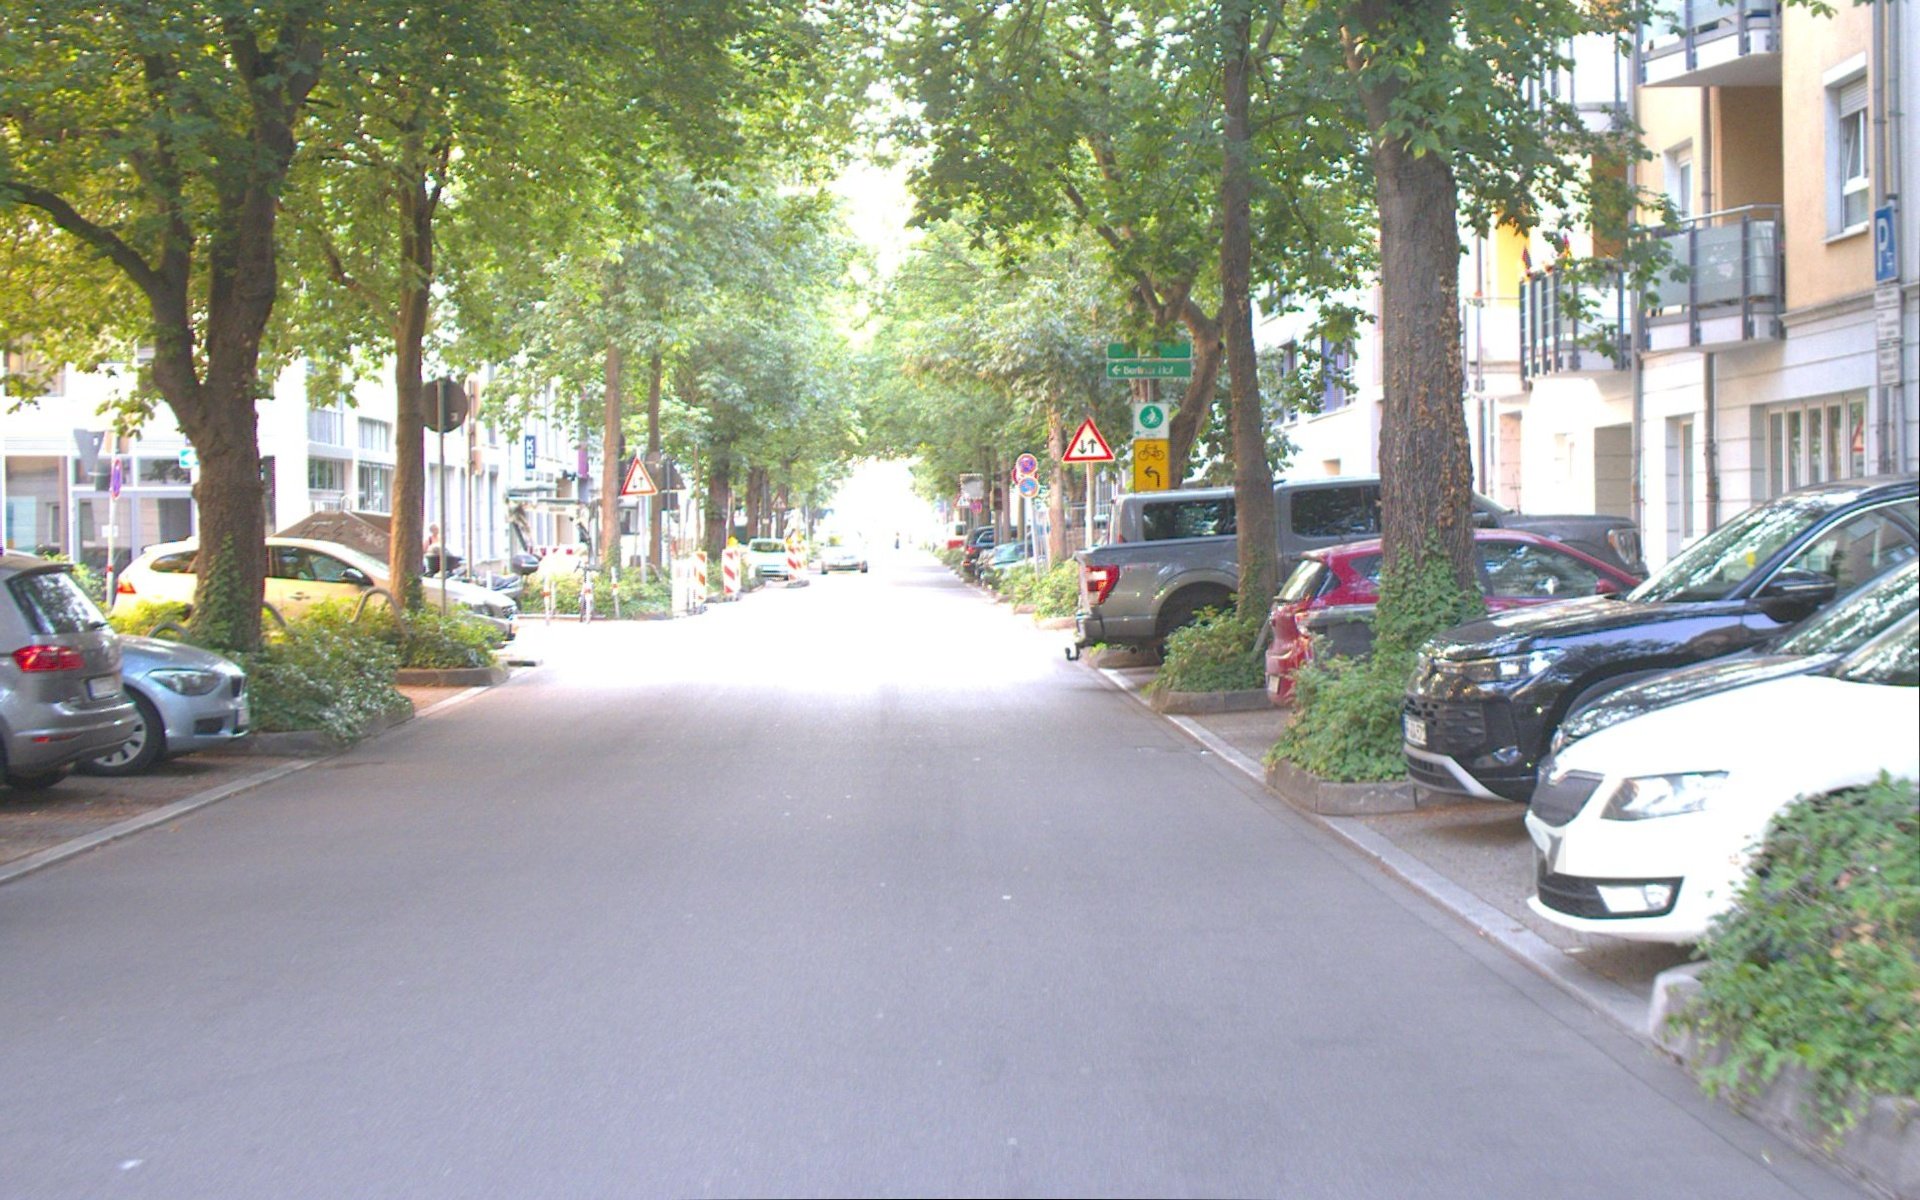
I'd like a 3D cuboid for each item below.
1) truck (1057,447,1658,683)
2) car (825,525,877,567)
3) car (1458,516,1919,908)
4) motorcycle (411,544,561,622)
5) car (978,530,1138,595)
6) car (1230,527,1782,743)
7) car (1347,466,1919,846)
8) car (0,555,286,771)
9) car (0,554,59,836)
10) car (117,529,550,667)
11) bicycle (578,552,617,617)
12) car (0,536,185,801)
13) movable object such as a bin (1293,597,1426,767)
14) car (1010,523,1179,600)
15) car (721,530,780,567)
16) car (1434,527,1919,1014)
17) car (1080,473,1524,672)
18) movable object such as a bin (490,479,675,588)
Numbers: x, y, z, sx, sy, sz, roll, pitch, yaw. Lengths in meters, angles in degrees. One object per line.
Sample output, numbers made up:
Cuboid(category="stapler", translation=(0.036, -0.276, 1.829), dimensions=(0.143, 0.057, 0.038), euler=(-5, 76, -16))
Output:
Cuboid(category="truck", translation=(3.980, -0.370, 35.265), dimensions=(5.887, 2.303, 2.212), euler=(0, 1, 0))
Cuboid(category="car", translation=(-4.293, -2.123, 135.025), dimensions=(2.009, 1.607, 4.120), euler=(0, 1, -2))
Cuboid(category="car", translation=(4.419, 0.353, 14.752), dimensions=(4.224, 1.433, 1.929), euler=(-4, 1, 1))
Cuboid(category="motorcycle", translation=(-8.220, -0.305, 59.666), dimensions=(2.350, 1.277, 1.067), euler=(-2, 2, -41))
Cuboid(category="car", translation=(2.454, -0.957, 86.667), dimensions=(3.987, 1.579, 2.000), euler=(-1, 1, 1))
Cuboid(category="car", translation=(4.005, 0.228, 25.654), dimensions=(3.776, 1.539, 1.878), euler=(0, 1, -2))
Cuboid(category="car", translation=(4.476, 0.165, 17.234), dimensions=(4.641, 1.612, 2.010), euler=(-4, 1, -5))
Cuboid(category="car", translation=(-7.048, 0.424, 24.091), dimensions=(4.287, 1.425, 1.879), euler=(0, 1, -1))
Cuboid(category="car", translation=(-7.139, 0.515, 18.796), dimensions=(3.986, 1.485, 1.826), euler=(0, 1, -3))
Cuboid(category="car", translation=(-7.214, -0.043, 39.916), dimensions=(4.619, 1.547, 2.075), euler=(0, 1, 2))
Cuboid(category="bicycle", translation=(-6.670, -0.296, 63.300), dimensions=(0.683, 1.148, 1.981), euler=(-1, 2, -6))
Cuboid(category="car", translation=(-7.090, 0.397, 21.461), dimensions=(3.987, 1.560, 1.929), euler=(0, 1, 4))
Cuboid(category="movable object such as a bin", translation=(2.675, 0.542, 23.091), dimensions=(0.760, 1.080, 0.785), euler=(-2, 1, 0))
Cuboid(category="car", translation=(3.222, -0.929, 82.096), dimensions=(3.987, 1.798, 2.000), euler=(0, 1, 3))
Cuboid(category="car", translation=(-7.485, -1.850, 122.585), dimensions=(1.993, 1.284, 4.001), euler=(-1, 1, -5))
Cuboid(category="car", translation=(4.135, 0.448, 12.033), dimensions=(4.599, 1.463, 1.796), euler=(-3, 1, -1))
Cuboid(category="car", translation=(3.718, -0.325, 38.008), dimensions=(4.600, 2.059, 2.198), euler=(-1, 1, -2))
Cuboid(category="movable object such as a bin", translation=(-8.538, -1.525, 77.792), dimensions=(4.045, 2.375, 2.785), euler=(-1, 2, -6))
